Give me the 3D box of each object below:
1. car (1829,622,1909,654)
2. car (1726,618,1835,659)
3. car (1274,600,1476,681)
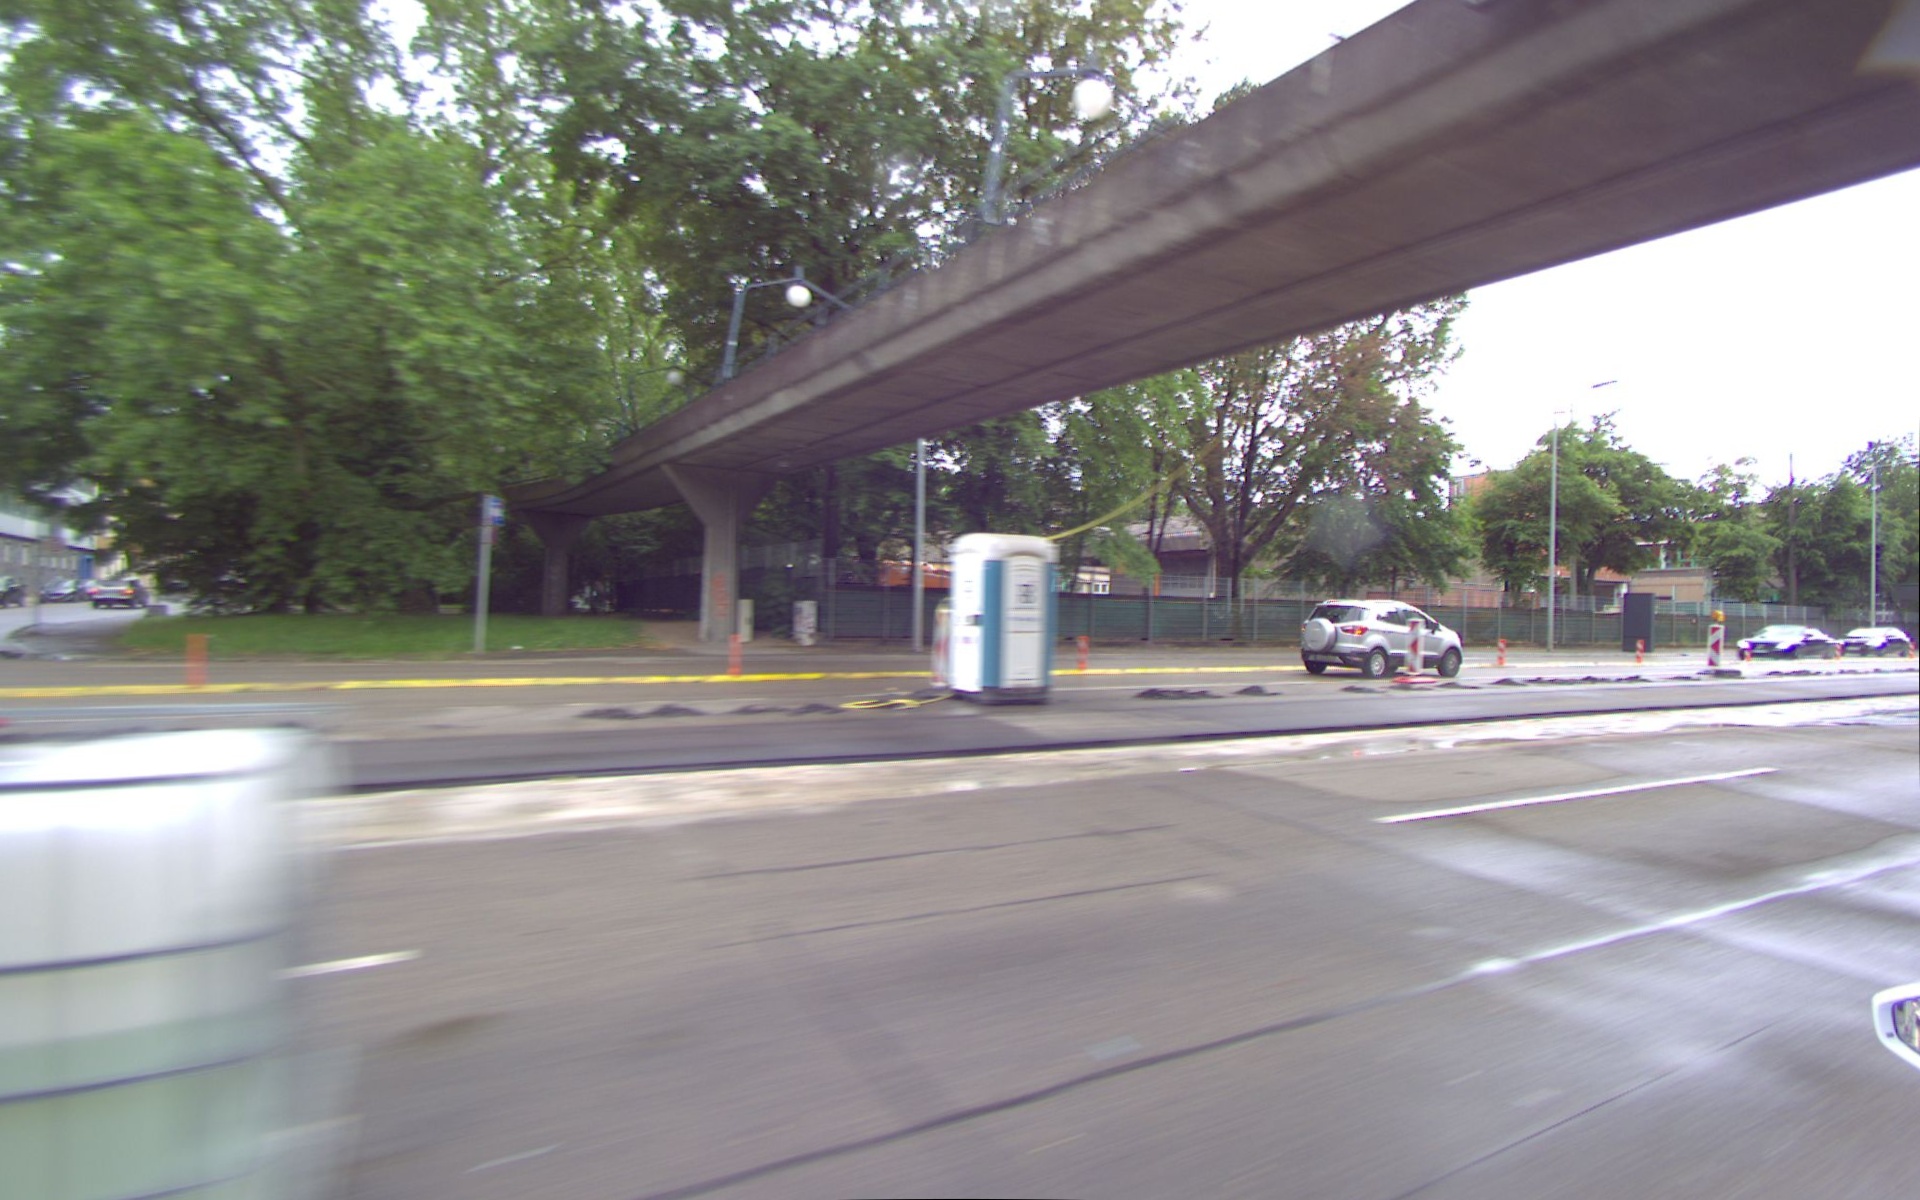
[{"bbox_3d":[44.027,1.854,48.635,3.952,1.461,1.716,2,-1,-29],"label":"car"},{"bbox_3d":[31.618,1.479,38.702,3.952,1.461,1.962,2,-1,-29],"label":"car"},{"bbox_3d":[9.137,0.849,22.035,4.313,1.585,1.879,1,1,-31],"label":"car"}]
